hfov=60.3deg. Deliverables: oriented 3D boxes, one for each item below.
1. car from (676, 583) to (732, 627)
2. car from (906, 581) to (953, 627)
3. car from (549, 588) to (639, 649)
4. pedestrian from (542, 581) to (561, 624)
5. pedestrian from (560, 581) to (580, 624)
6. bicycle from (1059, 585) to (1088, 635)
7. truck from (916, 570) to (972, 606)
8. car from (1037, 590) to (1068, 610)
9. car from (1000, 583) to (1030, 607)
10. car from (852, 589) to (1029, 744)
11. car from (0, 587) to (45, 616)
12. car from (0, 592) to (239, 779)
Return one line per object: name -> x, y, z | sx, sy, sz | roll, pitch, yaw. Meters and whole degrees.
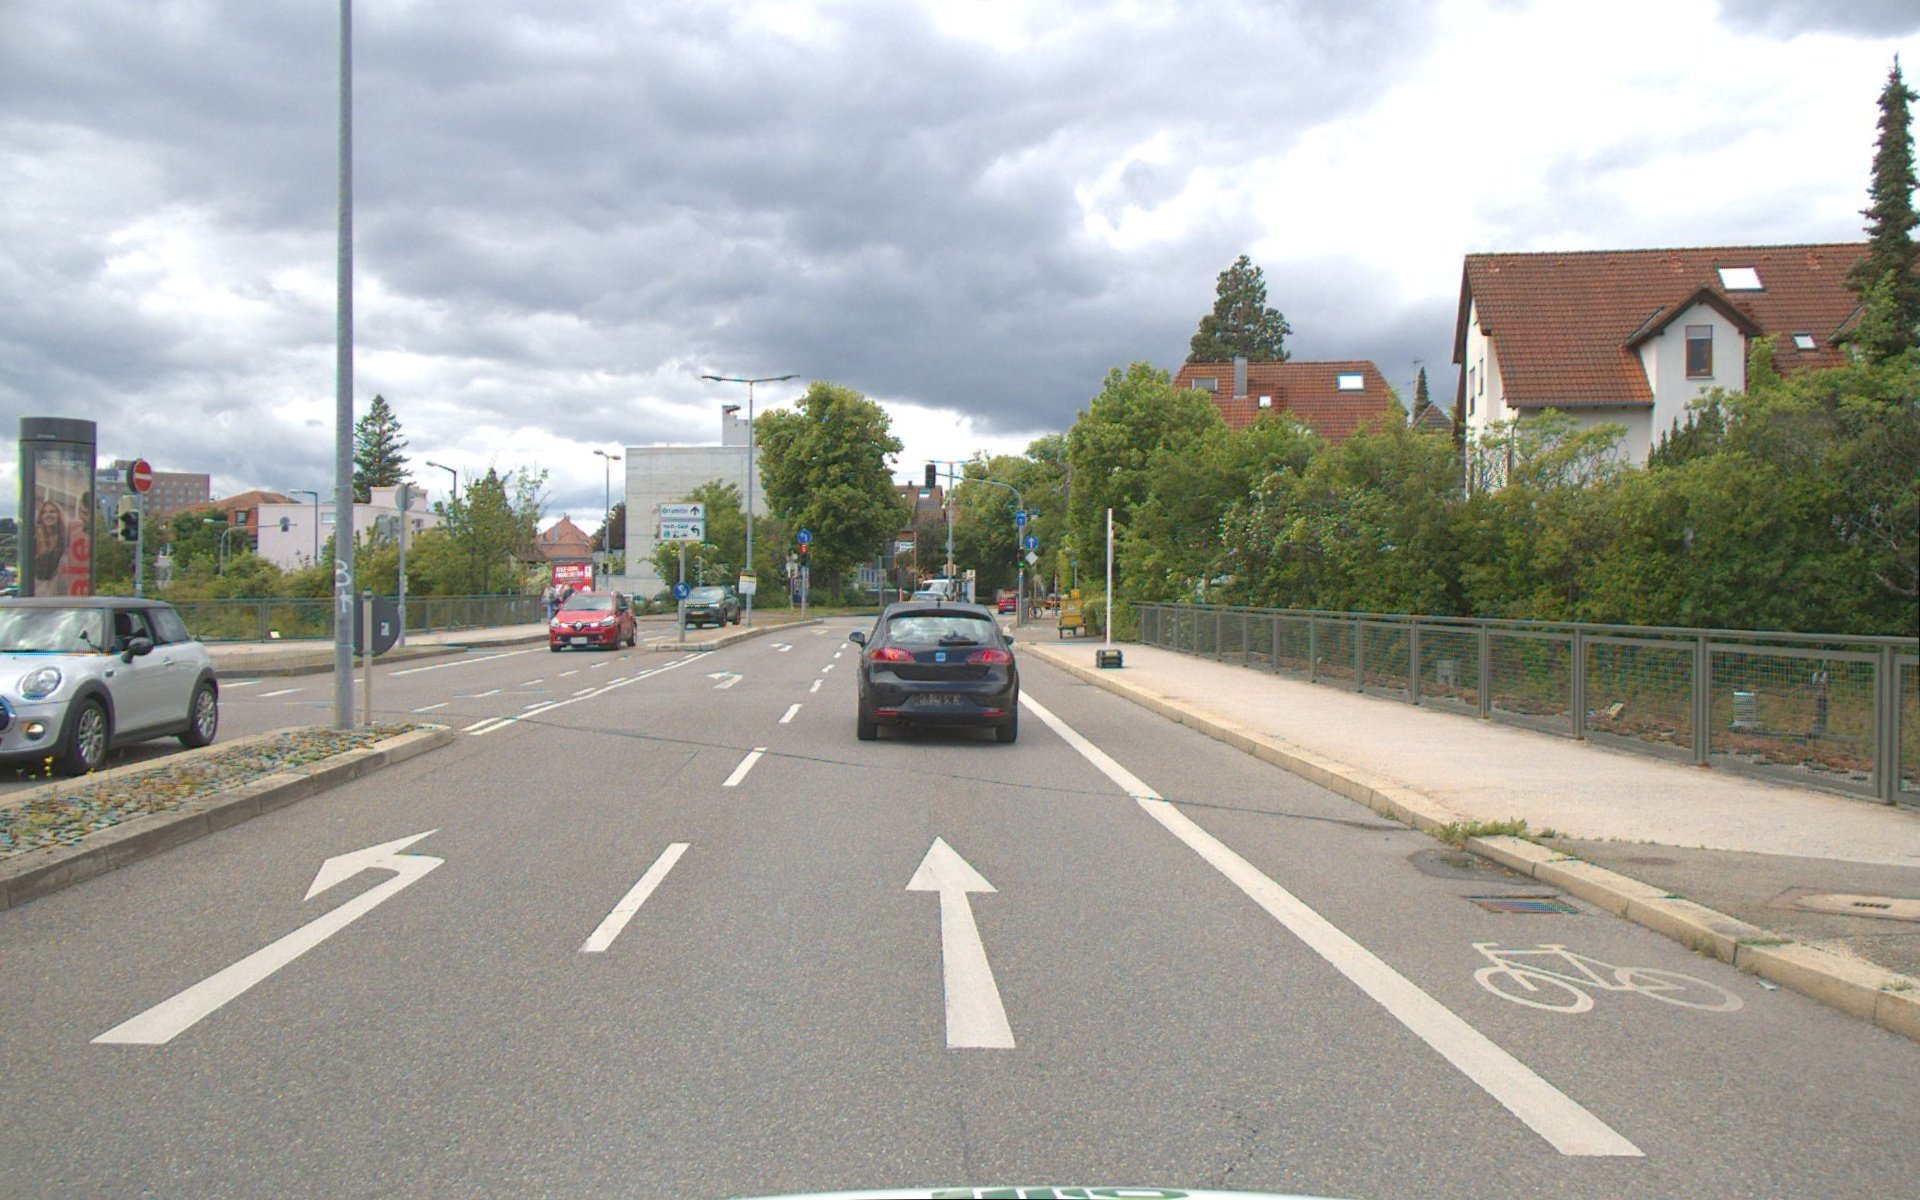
car -> -9.974, 0.198, 64.722 | 1.787, 1.655, 4.275 | 0, 0, -4
car -> -1.190, 0.122, 65.254 | 1.782, 1.729, 4.252 | -1, 1, -1
car -> -9.416, 0.456, 42.785 | 1.686, 1.473, 4.063 | 1, 0, -4
pedestrian -> -16.124, 0.107, 65.293 | 0.643, 1.662, 0.831 | 1, 0, -8
pedestrian -> -15.413, 0.106, 65.433 | 0.643, 1.662, 1.069 | 1, 0, -8
bicycle -> 3.607, 0.306, 52.568 | 0.873, 1.537, 2.784 | -1, 1, 3
truck -> -1.018, -0.793, 110.368 | 2.080, 2.304, 6.811 | 0, 0, 13
car -> 7.882, 0.013, 140.878 | 1.951, 1.713, 4.003 | 0, 0, 14
car -> 3.601, -0.330, 107.955 | 1.901, 1.507, 4.254 | -1, 1, 1
car -> -0.150, 0.661, 18.517 | 1.723, 1.474, 3.715 | 2, 1, 1
car -> -60.691, 0.060, 105.364 | 3.956, 1.691, 1.714 | 3, 0, -37
car -> -7.905, 0.649, 14.584 | 1.610, 1.433, 3.816 | 0, 0, -4
